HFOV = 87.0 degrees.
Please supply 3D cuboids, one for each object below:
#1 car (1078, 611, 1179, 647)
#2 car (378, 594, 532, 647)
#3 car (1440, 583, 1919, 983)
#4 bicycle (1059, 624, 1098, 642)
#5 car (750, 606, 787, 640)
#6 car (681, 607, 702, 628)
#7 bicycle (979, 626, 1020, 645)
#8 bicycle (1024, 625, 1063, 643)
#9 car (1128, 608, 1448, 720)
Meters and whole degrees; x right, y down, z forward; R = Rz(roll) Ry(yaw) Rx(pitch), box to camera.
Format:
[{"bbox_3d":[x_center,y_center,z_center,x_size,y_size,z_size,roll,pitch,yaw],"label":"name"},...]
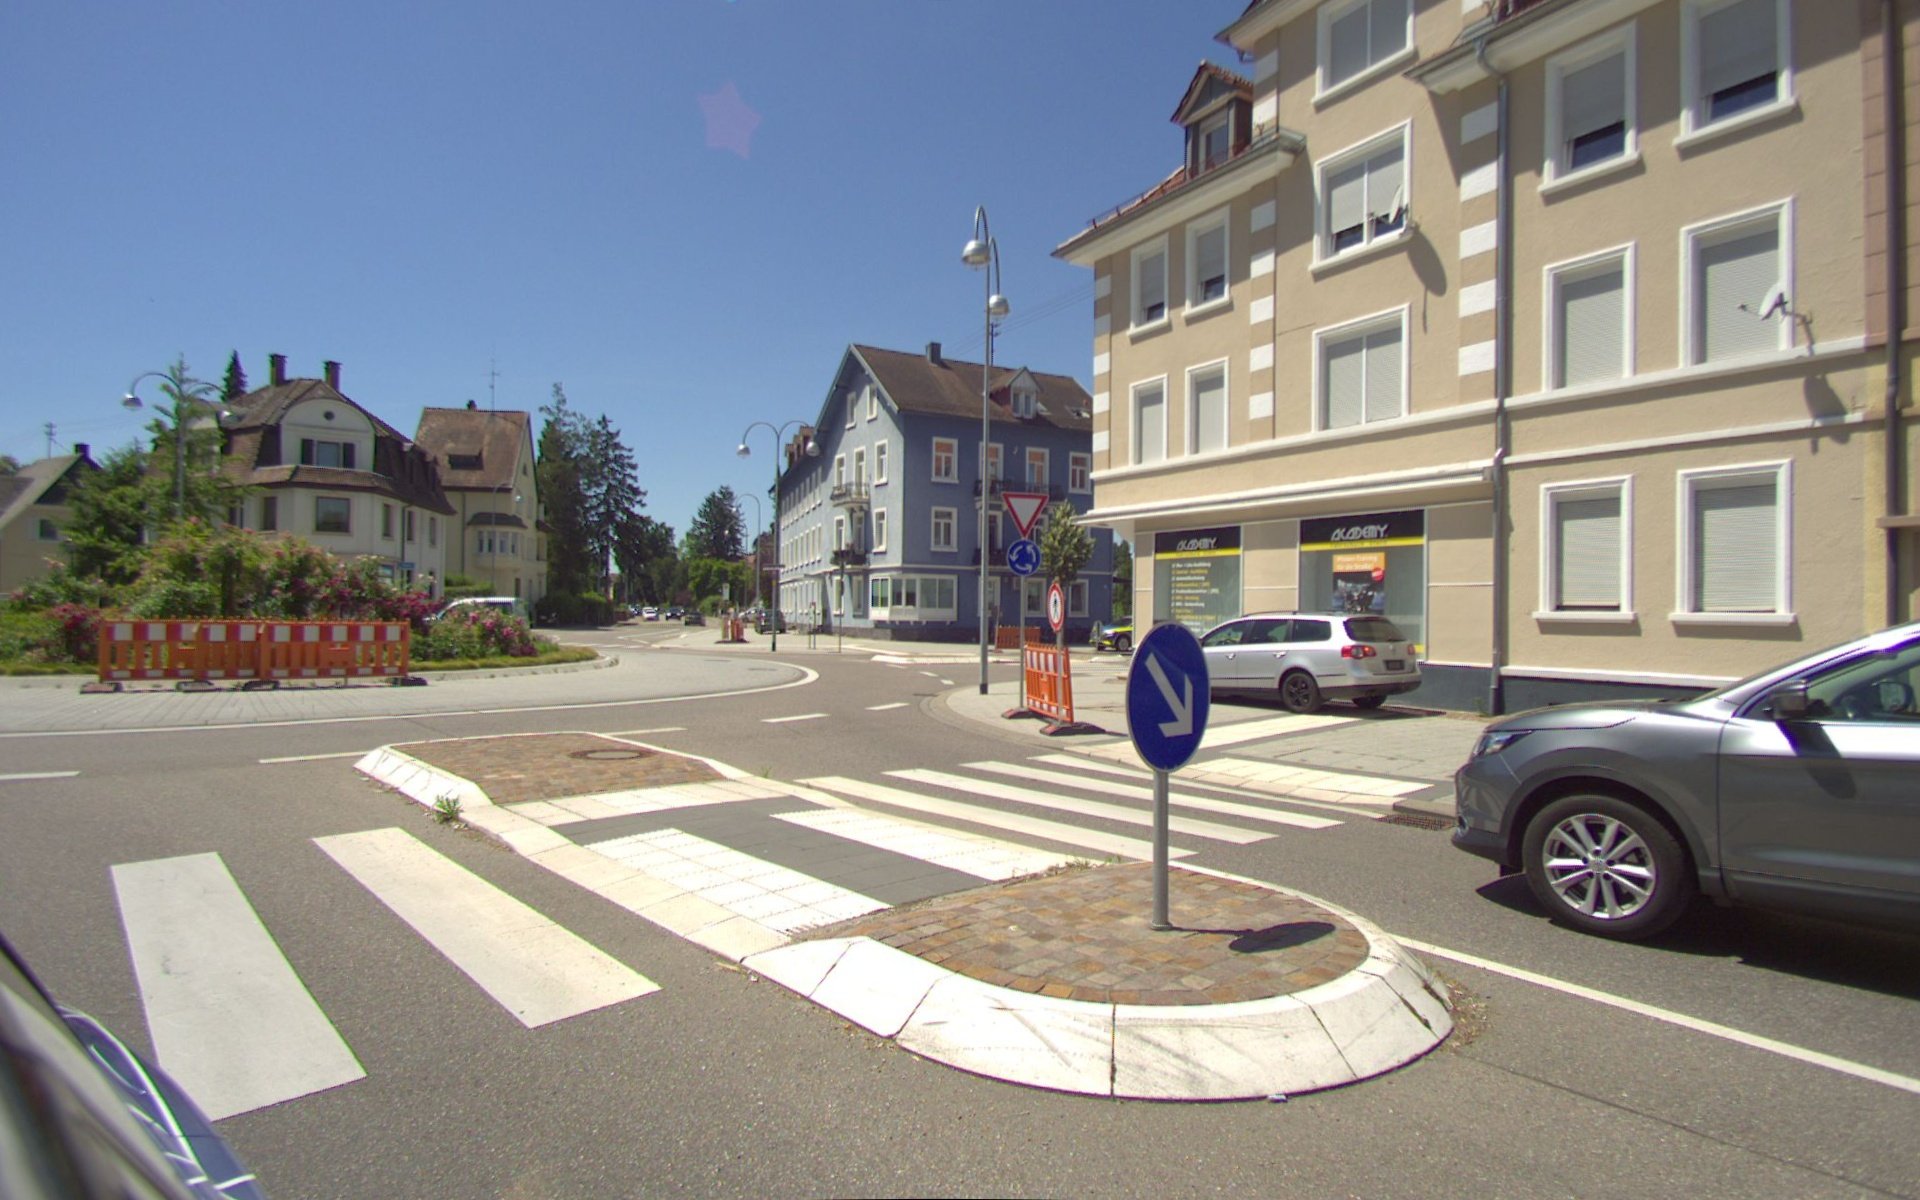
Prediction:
[{"bbox_3d":[7.710,1.342,46.320,4.425,1.581,1.663,2,-1,-27],"label":"car"},{"bbox_3d":[-18.087,0.736,36.403,4.500,1.750,2.001,1,-1,-2],"label":"car"},{"bbox_3d":[4.543,0.730,4.054,1.772,1.500,4.400,4,-2,-37],"label":"car"},{"bbox_3d":[6.283,1.723,53.550,2.050,0.918,0.614,1,-1,-25],"label":"bicycle"},{"bbox_3d":[-12.006,1.403,63.380,1.966,1.861,4.012,1,2,-15],"label":"car"},{"bbox_3d":[-26.427,1.738,99.743,1.966,1.861,4.012,1,2,-15],"label":"car"},{"bbox_3d":[1.993,1.781,50.685,2.051,0.918,0.614,2,-1,-30],"label":"bicycle"},{"bbox_3d":[4.329,1.769,52.470,2.051,0.918,0.614,2,-1,-30],"label":"bicycle"},{"bbox_3d":[5.021,0.907,16.323,1.770,1.514,4.961,0,-1,-31],"label":"car"}]
